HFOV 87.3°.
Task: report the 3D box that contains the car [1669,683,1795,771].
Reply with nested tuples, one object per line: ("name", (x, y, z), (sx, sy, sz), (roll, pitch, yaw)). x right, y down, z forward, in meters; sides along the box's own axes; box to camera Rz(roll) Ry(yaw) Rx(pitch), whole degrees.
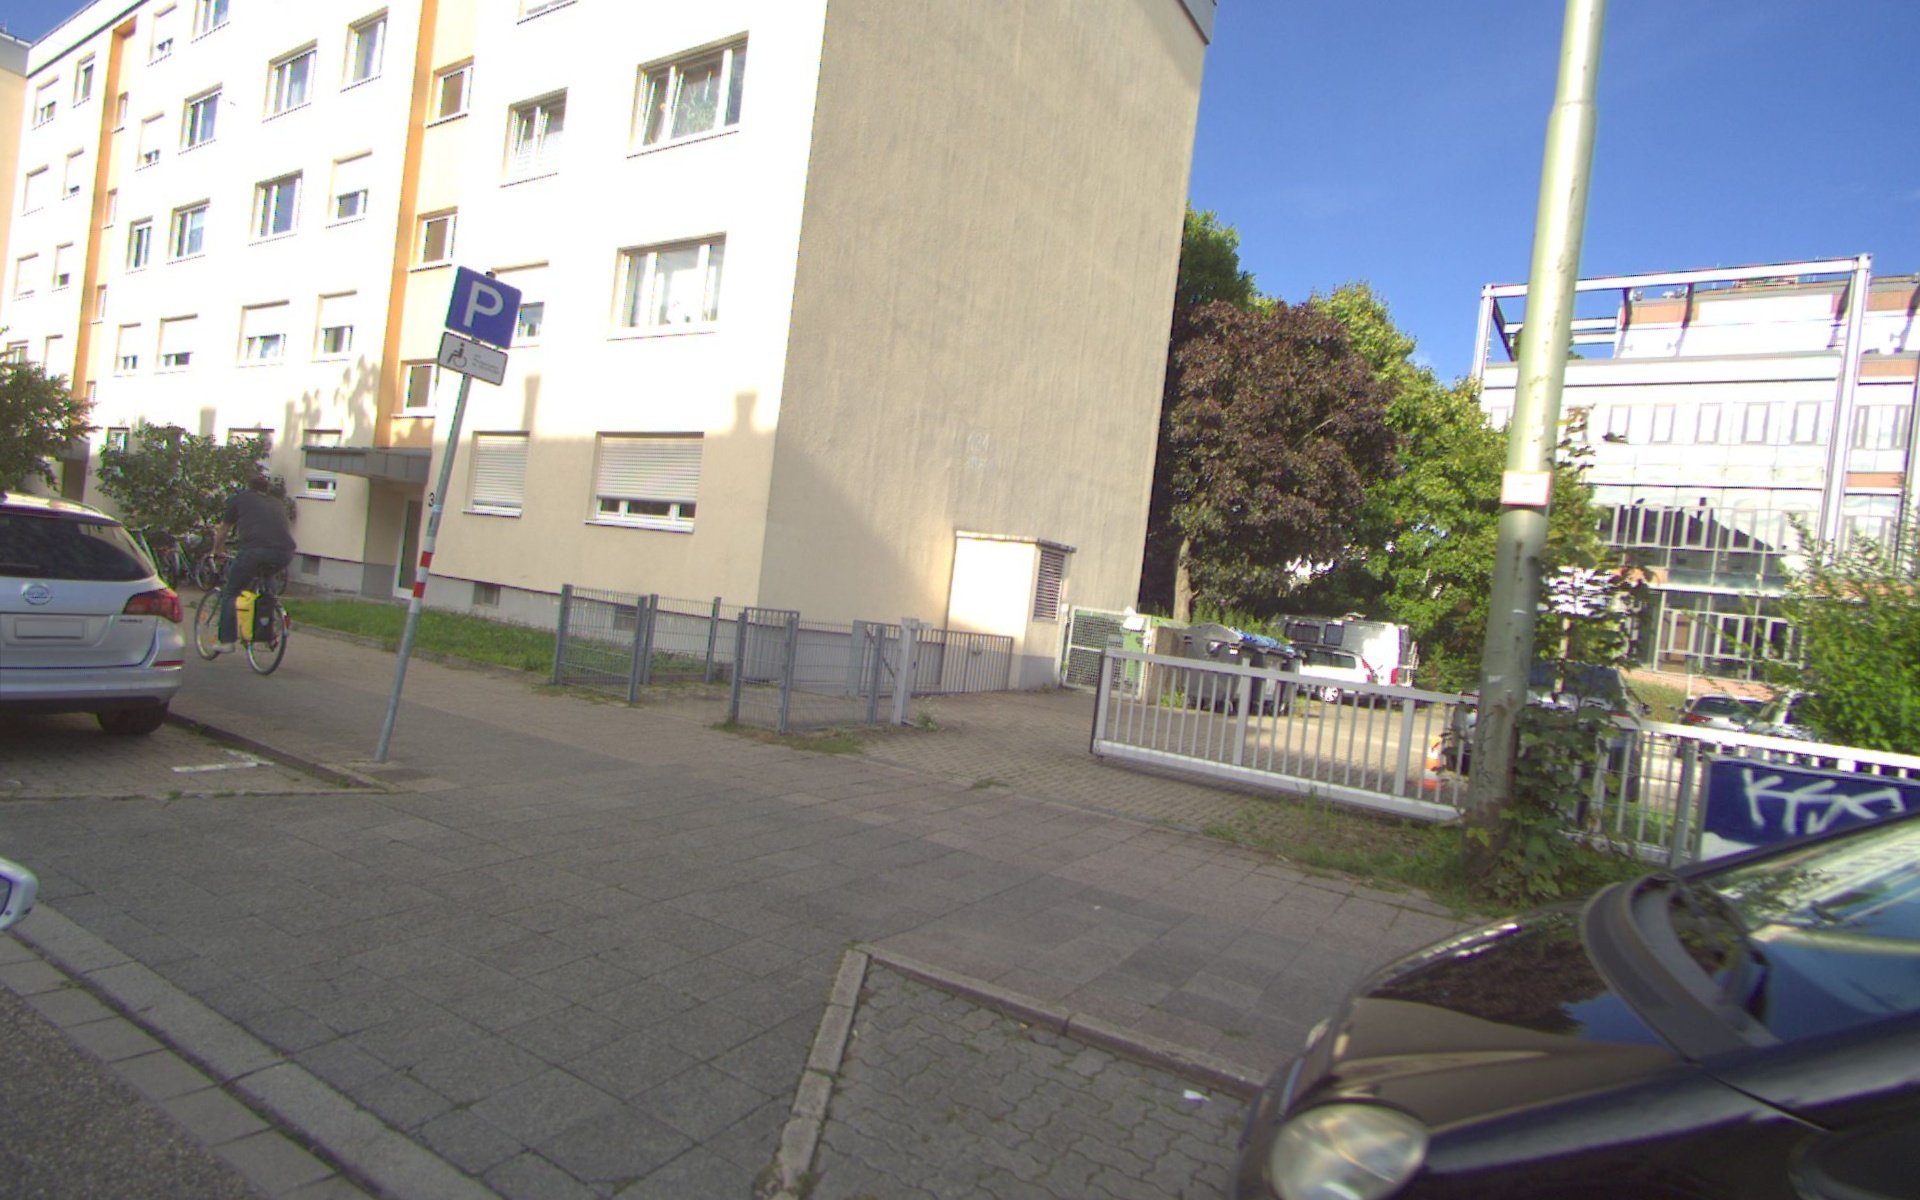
("car", (16.446, 2.684, 21.504), (1.842, 1.435, 4.077), (7, -1, 37))

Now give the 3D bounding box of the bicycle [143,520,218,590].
("bicycle", (-14.065, -0.815, 18.141), (1.564, 1.151, 0.445), (5, 1, 30))

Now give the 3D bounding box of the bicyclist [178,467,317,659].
("bicyclist", (-6.829, -0.349, 9.641), (0.878, 1.698, 0.624), (7, 0, 29))

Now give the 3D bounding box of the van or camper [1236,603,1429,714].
("van or camper", (11.150, 1.726, 30.264), (4.805, 2.666, 2.148), (7, 0, 38))

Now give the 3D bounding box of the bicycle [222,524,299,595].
("bicycle", (-13.364, -0.784, 19.213), (1.564, 1.231, 0.522), (5, 1, 30))

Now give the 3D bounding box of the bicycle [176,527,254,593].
("bicycle", (-13.810, -0.750, 18.636), (1.564, 1.088, 0.522), (5, 1, 30))

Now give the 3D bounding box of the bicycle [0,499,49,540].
("bicycle", (-27.780, -2.393, 29.857), (2.099, 1.044, 0.501), (7, 3, 31))

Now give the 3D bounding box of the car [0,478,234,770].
("car", (-6.758, -0.074, 6.538), (4.258, 1.543, 1.765), (7, 1, 32))

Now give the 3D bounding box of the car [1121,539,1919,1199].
("car", (2.368, 0.960, 1.351), (3.903, 1.622, 1.675), (7, 1, 30))

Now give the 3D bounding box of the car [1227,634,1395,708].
("car", (9.768, 1.958, 28.070), (3.936, 1.504, 1.995), (7, 0, 34))

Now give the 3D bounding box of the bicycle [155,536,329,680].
("bicycle", (-6.918, 0.060, 9.666), (1.896, 1.149, 0.524), (7, 0, 30))

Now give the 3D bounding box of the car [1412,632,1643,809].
("car", (6.962, 1.380, 12.059), (1.841, 1.500, 4.669), (7, -1, 35))

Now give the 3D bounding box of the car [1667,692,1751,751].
("car", (22.974, 3.703, 30.869), (1.842, 1.435, 4.077), (7, -1, 37))

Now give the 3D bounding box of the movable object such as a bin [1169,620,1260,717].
("movable object such as a bin", (4.201, 1.123, 16.611), (1.092, 1.435, 0.877), (7, 1, 32))

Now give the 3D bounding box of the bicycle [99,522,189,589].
("bicycle", (-14.302, -0.787, 17.631), (1.664, 1.009, 0.597), (5, -1, 30))

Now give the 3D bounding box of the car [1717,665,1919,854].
("car", (9.509, 1.667, 10.891), (1.843, 1.500, 4.075), (7, -1, 39))
